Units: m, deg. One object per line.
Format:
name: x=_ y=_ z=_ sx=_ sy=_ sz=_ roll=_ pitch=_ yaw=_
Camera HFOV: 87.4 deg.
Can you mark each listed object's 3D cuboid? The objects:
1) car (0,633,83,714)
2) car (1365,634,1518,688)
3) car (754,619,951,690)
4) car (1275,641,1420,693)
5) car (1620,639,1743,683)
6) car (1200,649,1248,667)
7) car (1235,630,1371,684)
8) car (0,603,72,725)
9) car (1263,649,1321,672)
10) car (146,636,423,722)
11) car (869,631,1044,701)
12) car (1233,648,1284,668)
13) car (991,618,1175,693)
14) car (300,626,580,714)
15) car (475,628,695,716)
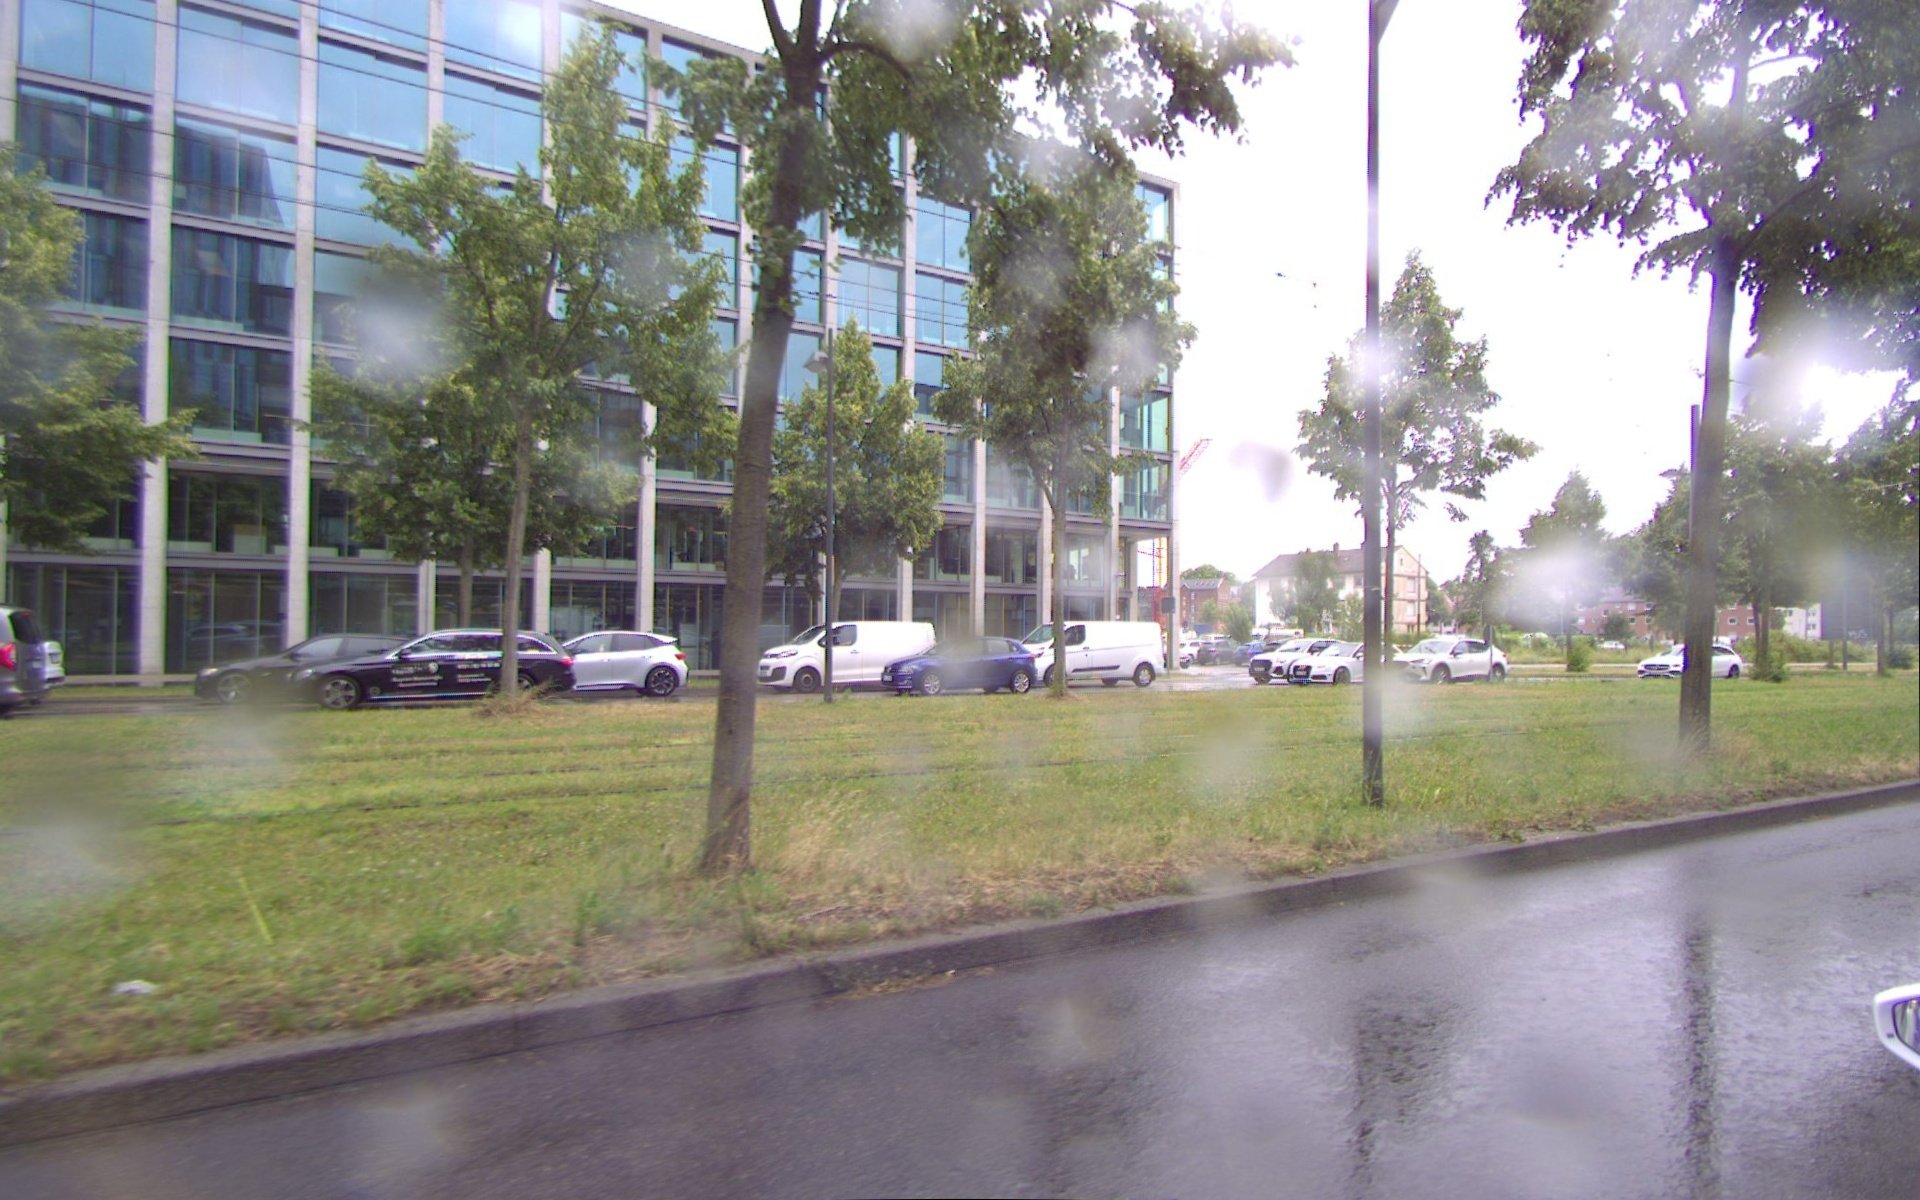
car: x=-18.644 y=1.362 z=17.913 sx=4.224 sy=1.404 sz=1.940 roll=-1 pitch=-1 yaw=-32
car: x=14.418 y=1.784 z=30.015 sx=4.522 sy=1.471 sz=1.942 roll=2 pitch=-2 yaw=-30
car: x=-2.858 y=1.398 z=27.138 sx=4.973 sy=1.674 sz=1.940 roll=-1 pitch=-1 yaw=-32
car: x=12.451 y=2.113 z=32.213 sx=4.522 sy=1.533 sz=1.942 roll=2 pitch=-2 yaw=-30
car: x=28.467 y=2.376 z=39.615 sx=4.767 sy=1.480 sz=1.944 roll=-1 pitch=-1 yaw=-26
car: x=17.617 y=3.863 z=67.084 sx=2.977 sy=1.087 sz=1.285 roll=-1 pitch=-1 yaw=-27
car: x=12.019 y=1.989 z=35.175 sx=4.517 sy=1.772 sz=1.944 roll=2 pitch=-2 yaw=-27
car: x=-16.769 y=0.988 z=15.319 sx=4.490 sy=1.873 sz=1.942 roll=0 pitch=-1 yaw=-30
car: x=20.527 y=3.735 z=62.047 sx=3.437 sy=1.256 sz=1.373 roll=-1 pitch=-1 yaw=-26
car: x=-13.768 y=1.550 z=20.809 sx=4.573 sy=1.466 sz=1.849 roll=-1 pitch=-1 yaw=-32
car: x=-0.086 y=1.589 z=25.141 sx=3.911 sy=1.514 sz=1.943 roll=-1 pitch=-1 yaw=-28
car: x=19.123 y=3.695 z=64.259 sx=3.177 sy=1.082 sz=1.182 roll=-1 pitch=-1 yaw=-26
car: x=3.827 y=1.629 z=30.953 sx=5.306 sy=2.033 sz=2.259 roll=-1 pitch=-1 yaw=-29
car: x=-9.877 y=1.259 z=19.307 sx=4.550 sy=1.404 sz=1.941 roll=-1 pitch=-1 yaw=-31
car: x=-8.814 y=1.616 z=23.745 sx=4.581 sy=1.769 sz=1.940 roll=-1 pitch=-1 yaw=-32
